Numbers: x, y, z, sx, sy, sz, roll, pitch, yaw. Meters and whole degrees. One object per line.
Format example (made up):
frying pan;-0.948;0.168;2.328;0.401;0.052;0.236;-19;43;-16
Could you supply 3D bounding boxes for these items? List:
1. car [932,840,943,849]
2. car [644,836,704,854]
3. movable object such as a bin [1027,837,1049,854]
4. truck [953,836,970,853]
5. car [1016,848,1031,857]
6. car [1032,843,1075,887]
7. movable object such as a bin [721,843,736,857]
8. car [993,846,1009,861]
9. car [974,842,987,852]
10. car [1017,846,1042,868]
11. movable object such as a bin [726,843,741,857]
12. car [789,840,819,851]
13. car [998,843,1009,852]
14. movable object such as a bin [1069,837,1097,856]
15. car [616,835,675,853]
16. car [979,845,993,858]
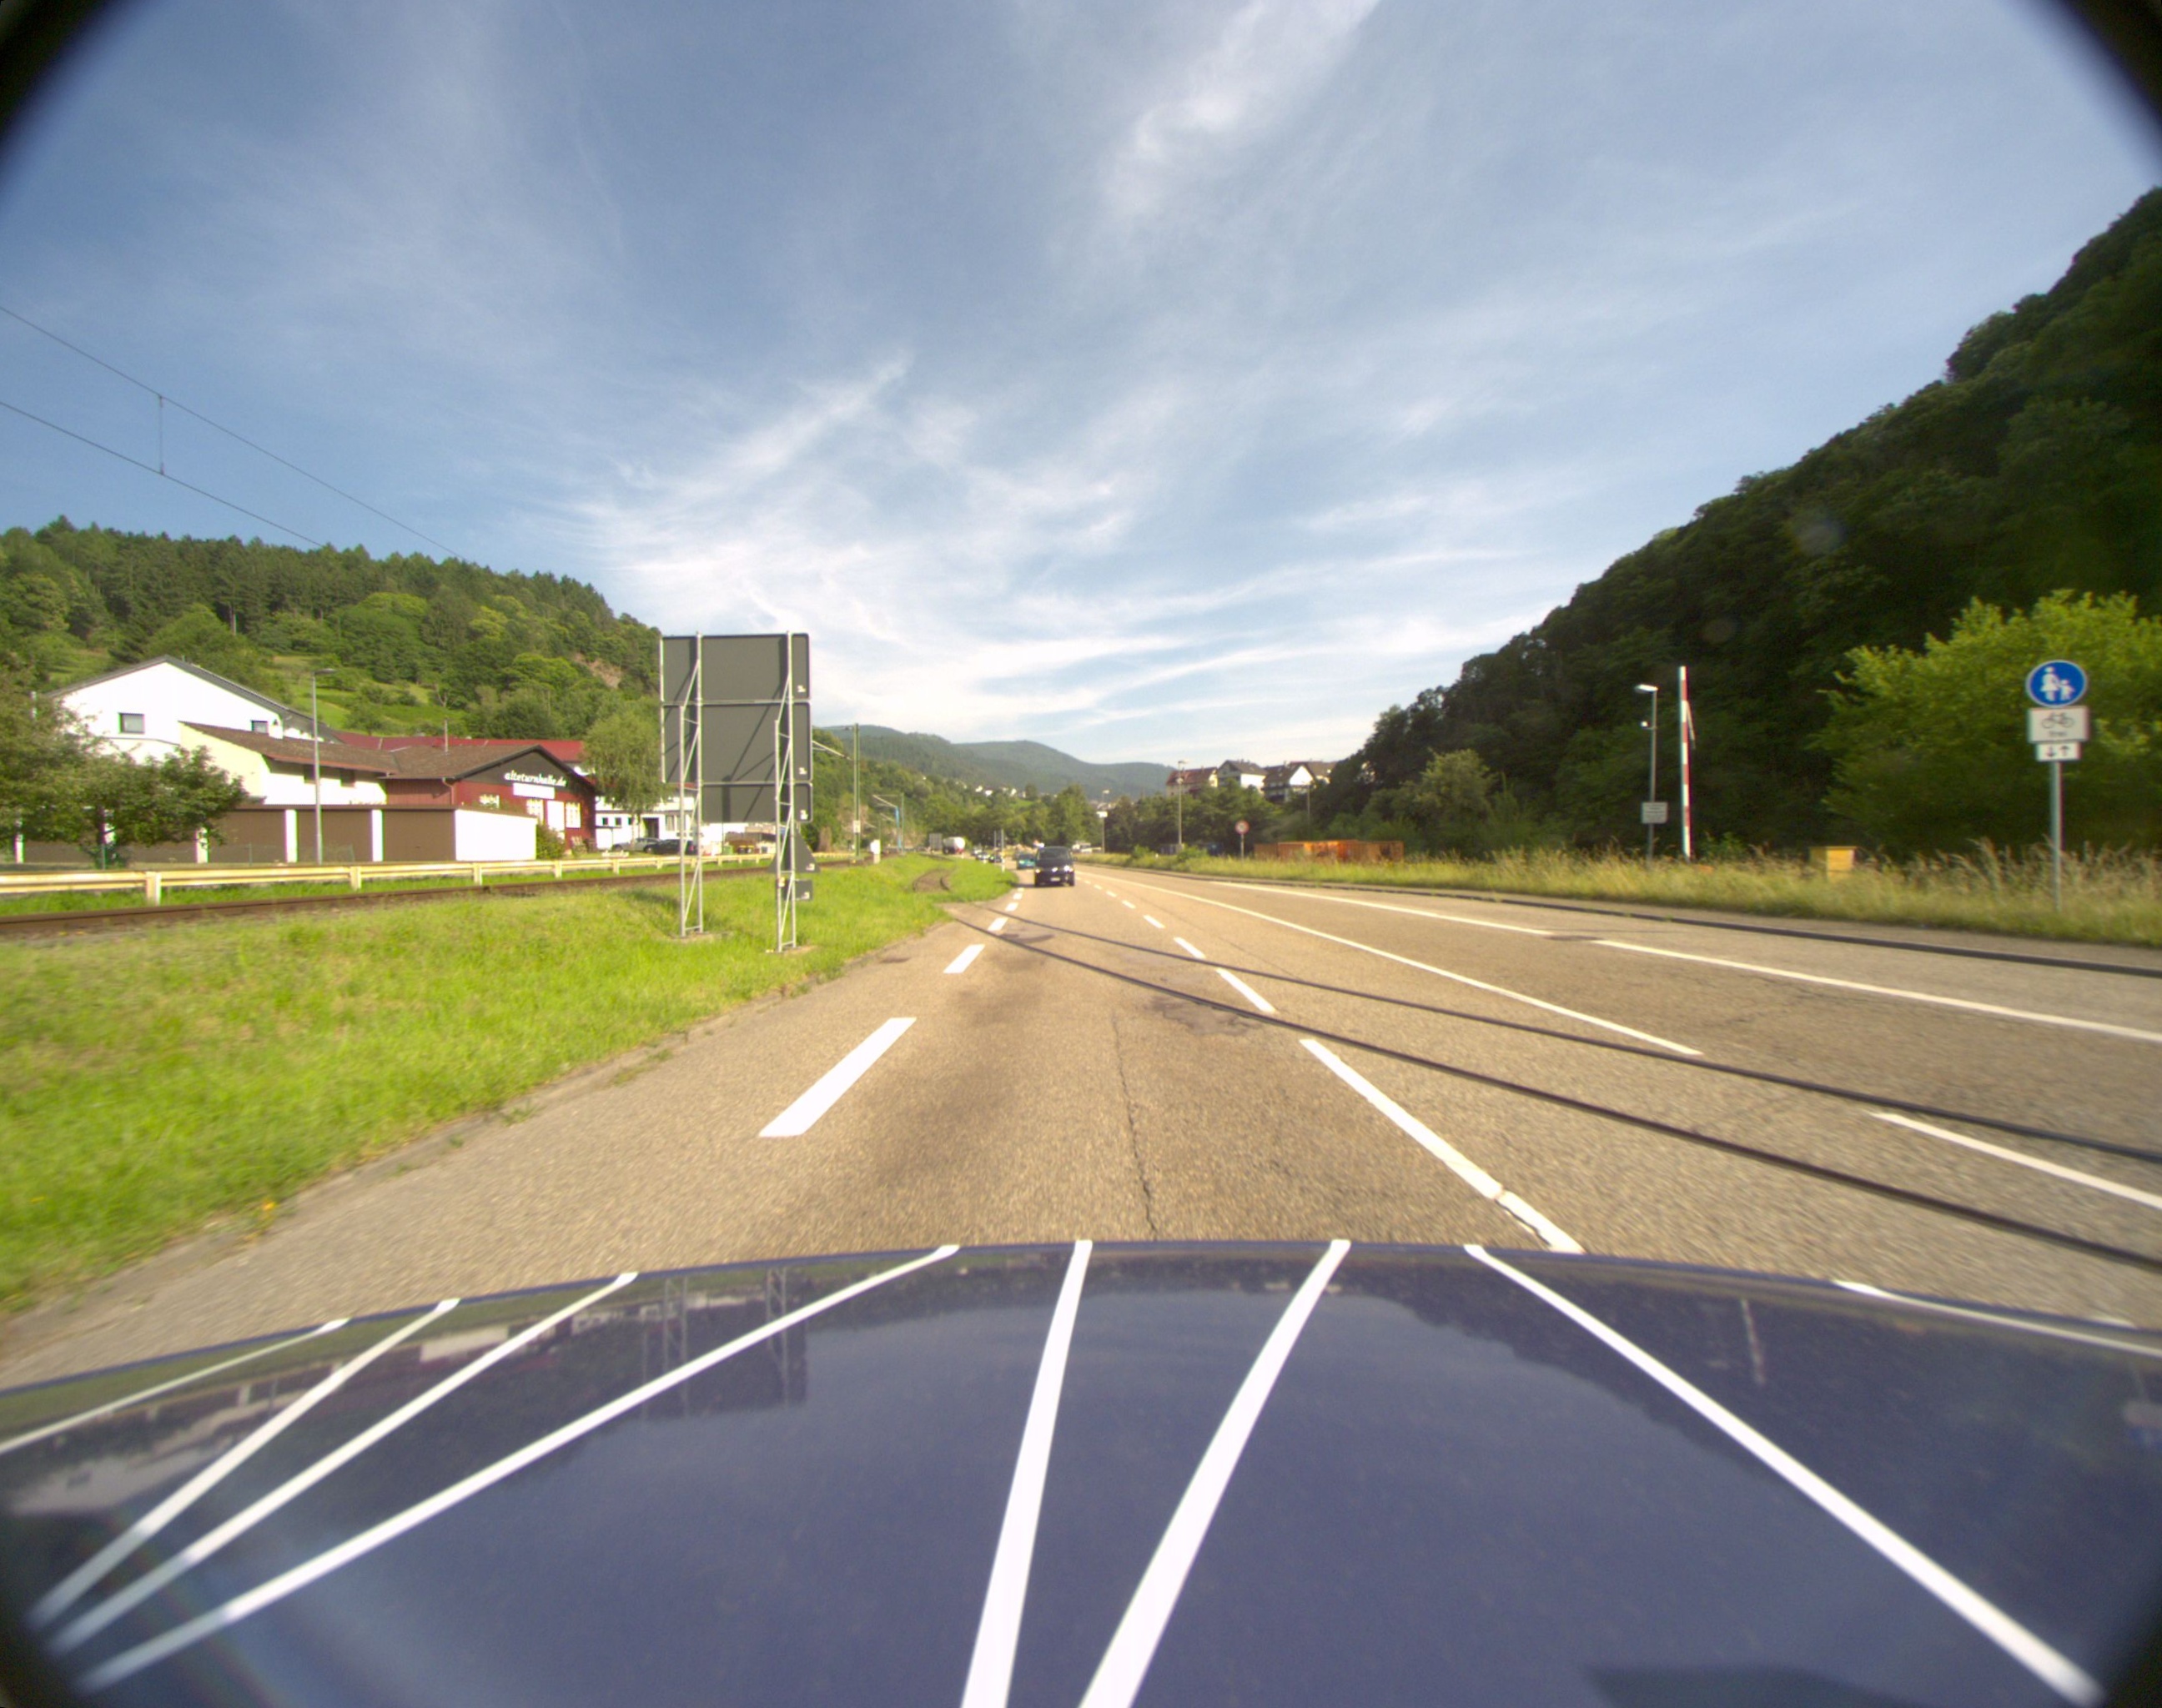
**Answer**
car;-34.645;-2.333;183.649;2.002;2.002;3.993;2;0;-19
car;-33.971;-0.741;63.534;3.999;1.368;1.824;2;0;-5
movable object such as a bin;-10.325;-2.136;181.859;2.734;3.924;7.213;2;1;-24
truck;-29.021;-2.321;184.258;2.760;3.813;14.542;-2;1;-14
car;-8.858;-0.217;116.657;1.784;1.340;4.506;-2;1;-9
car;-1.381;0.562;37.241;1.999;2.001;3.999;0;-1;-4
movable object such as a bin;-27.881;-0.327;60.157;0.810;1.044;0.911;-2;1;-7
car;-11.344;-0.035;107.434;2.000;2.002;3.996;2;0;-9
car;-20.747;-1.457;156.854;2.002;2.002;3.993;2;0;-17
car;-5.003;0.267;73.200;2.000;2.002;3.997;2;0;-8
movable object such as a bin;-28.025;-0.316;61.305;0.810;1.044;0.911;-2;1;-7
car;-40.150;-1.243;110.263;4.003;1.521;1.997;1;0;-16
car;-13.935;-1.118;136.401;1.729;1.615;3.793;-2;1;-8
movable object such as a bin;0.346;-1.694;165.582;2.911;3.924;7.791;2;1;-24
car;-37.930;-0.827;66.208;4.000;1.368;1.824;3;0;-7
car;-15.938;-0.466;127.190;2.001;2.002;3.995;2;0;-11
